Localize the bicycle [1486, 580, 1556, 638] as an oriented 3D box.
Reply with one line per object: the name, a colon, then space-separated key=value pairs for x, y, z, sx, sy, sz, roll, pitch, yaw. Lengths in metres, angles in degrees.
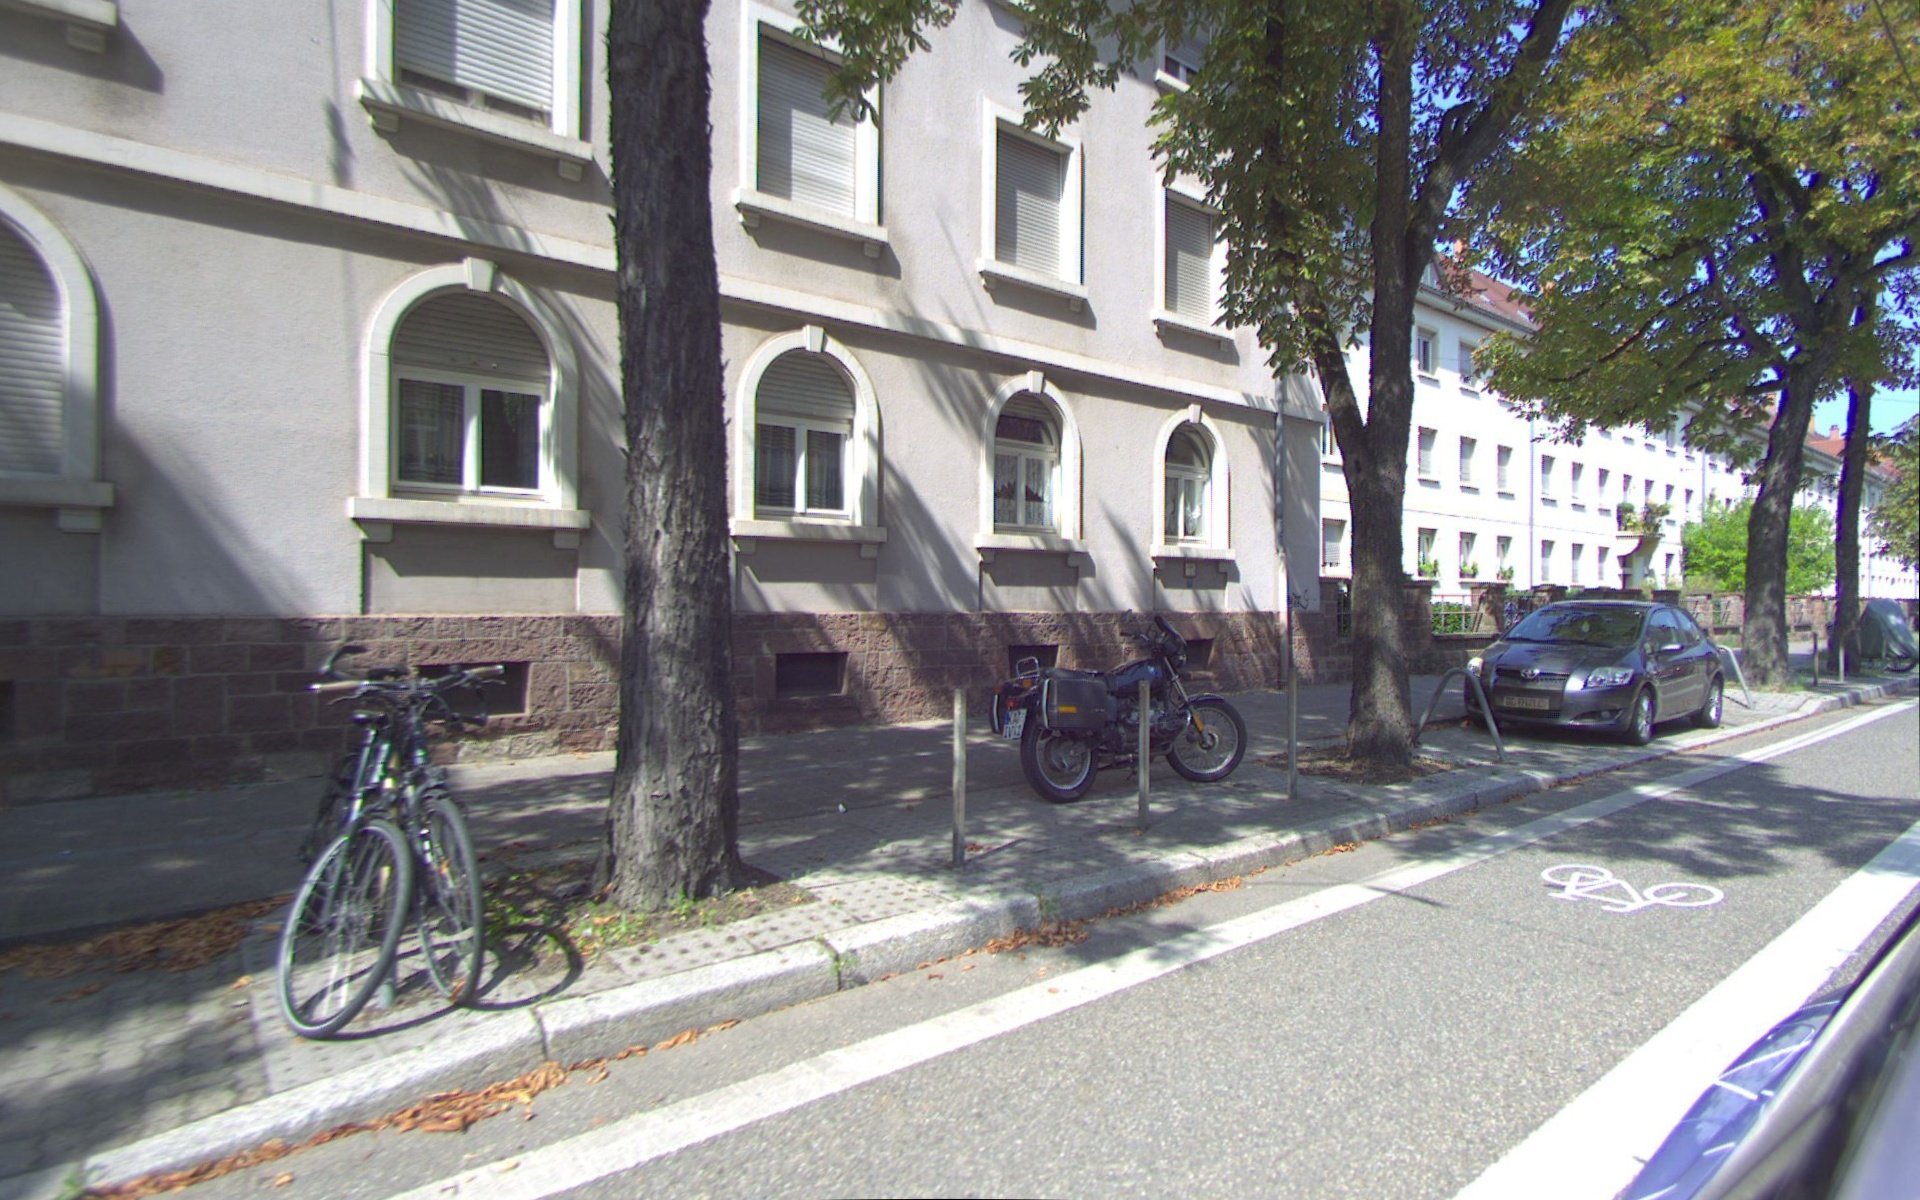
bicycle: x=13.761 y=0.197 z=24.808 sx=2.324 sy=1.375 sz=0.596 roll=0 pitch=0 yaw=-36

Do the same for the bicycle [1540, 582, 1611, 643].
bicycle: x=14.530 y=0.274 z=23.879 sx=2.324 sy=1.375 sz=0.596 roll=0 pitch=0 yaw=-36

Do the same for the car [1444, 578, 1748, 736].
car: x=7.597 y=0.596 z=11.957 sx=4.040 sy=1.551 sz=1.845 roll=2 pitch=0 yaw=-39

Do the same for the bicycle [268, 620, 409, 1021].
bicycle: x=-2.386 y=0.683 z=3.892 sx=0.369 sy=1.164 sz=1.729 roll=0 pitch=0 yaw=-32

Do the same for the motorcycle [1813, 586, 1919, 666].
motorcycle: x=19.835 y=0.516 z=21.814 sx=0.951 sy=1.559 sz=2.346 roll=0 pitch=3 yaw=2

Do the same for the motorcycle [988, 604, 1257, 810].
motorcycle: x=1.230 y=0.674 z=7.297 sx=2.138 sy=1.271 sz=0.711 roll=0 pitch=0 yaw=-41

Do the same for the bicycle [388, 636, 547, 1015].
bicycle: x=-1.965 y=0.731 z=3.946 sx=0.391 sy=1.117 sz=1.612 roll=0 pitch=0 yaw=-32
